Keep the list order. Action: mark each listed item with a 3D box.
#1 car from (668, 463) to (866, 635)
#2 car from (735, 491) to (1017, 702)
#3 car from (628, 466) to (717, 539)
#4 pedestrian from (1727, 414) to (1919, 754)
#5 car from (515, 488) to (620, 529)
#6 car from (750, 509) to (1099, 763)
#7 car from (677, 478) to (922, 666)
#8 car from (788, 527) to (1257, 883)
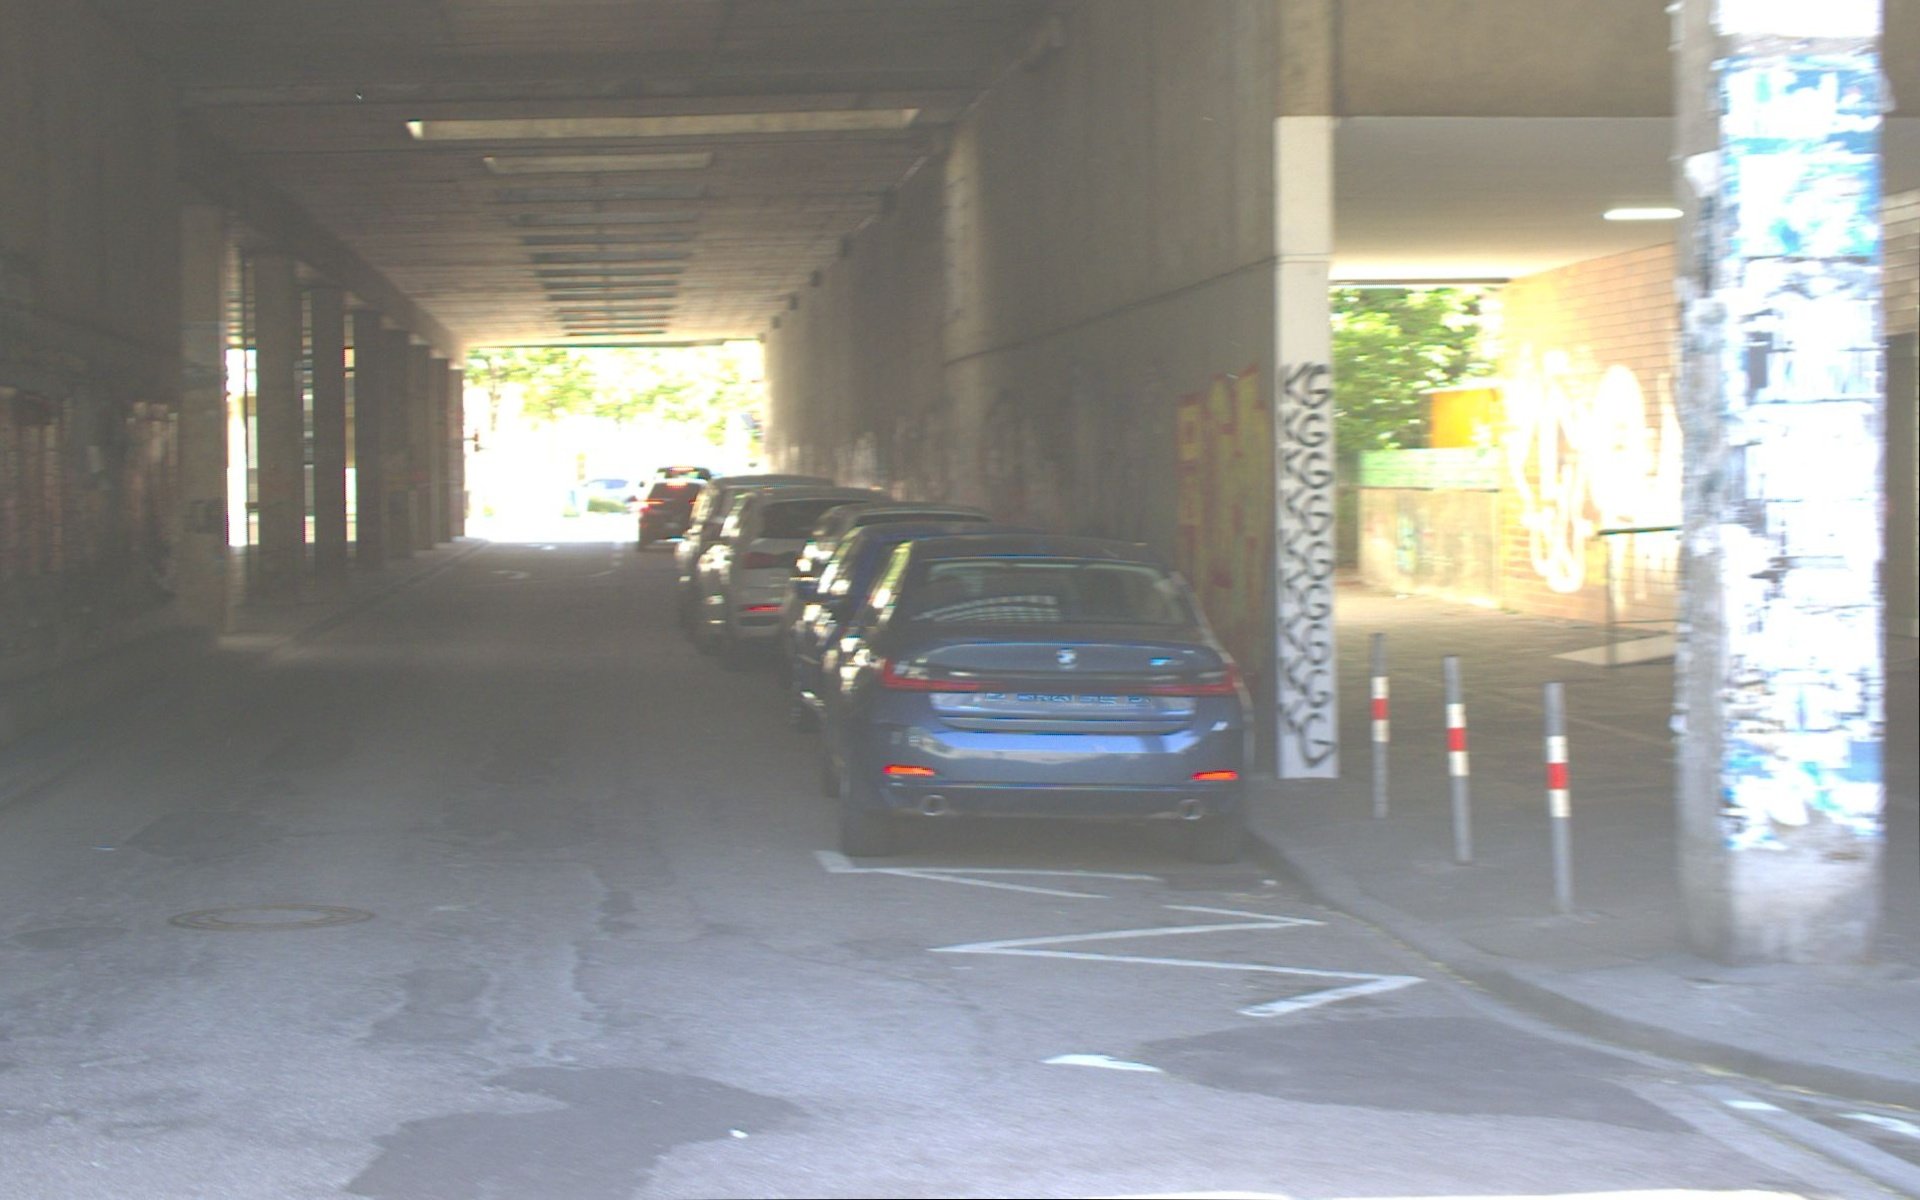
[{"bbox_3d":[-2.090,-0.590,36.199,1.852,1.660,4.372,0,3,-6],"label":"car"},{"bbox_3d":[-0.711,-0.081,26.391,1.603,1.482,3.639,-1,2,-10],"label":"car"},{"bbox_3d":[-6.180,-2.109,73.842,1.826,1.495,4.212,-1,2,-5],"label":"car"},{"bbox_3d":[4.485,-0.100,17.745,0.793,1.693,0.758,-1,4,-7],"label":"pedestrian"},{"bbox_3d":[-15.548,-3.633,136.208,3.987,1.568,1.640,-1,2,-1],"label":"car"},{"bbox_3d":[-0.318,0.150,21.607,1.761,1.406,4.064,-1,2,-7],"label":"car"},{"bbox_3d":[-1.495,-0.293,30.639,1.729,1.540,4.157,-1,2,-9],"label":"car"},{"bbox_3d":[0.150,0.397,16.703,1.851,1.428,4.608,1,2,-4],"label":"car"}]
